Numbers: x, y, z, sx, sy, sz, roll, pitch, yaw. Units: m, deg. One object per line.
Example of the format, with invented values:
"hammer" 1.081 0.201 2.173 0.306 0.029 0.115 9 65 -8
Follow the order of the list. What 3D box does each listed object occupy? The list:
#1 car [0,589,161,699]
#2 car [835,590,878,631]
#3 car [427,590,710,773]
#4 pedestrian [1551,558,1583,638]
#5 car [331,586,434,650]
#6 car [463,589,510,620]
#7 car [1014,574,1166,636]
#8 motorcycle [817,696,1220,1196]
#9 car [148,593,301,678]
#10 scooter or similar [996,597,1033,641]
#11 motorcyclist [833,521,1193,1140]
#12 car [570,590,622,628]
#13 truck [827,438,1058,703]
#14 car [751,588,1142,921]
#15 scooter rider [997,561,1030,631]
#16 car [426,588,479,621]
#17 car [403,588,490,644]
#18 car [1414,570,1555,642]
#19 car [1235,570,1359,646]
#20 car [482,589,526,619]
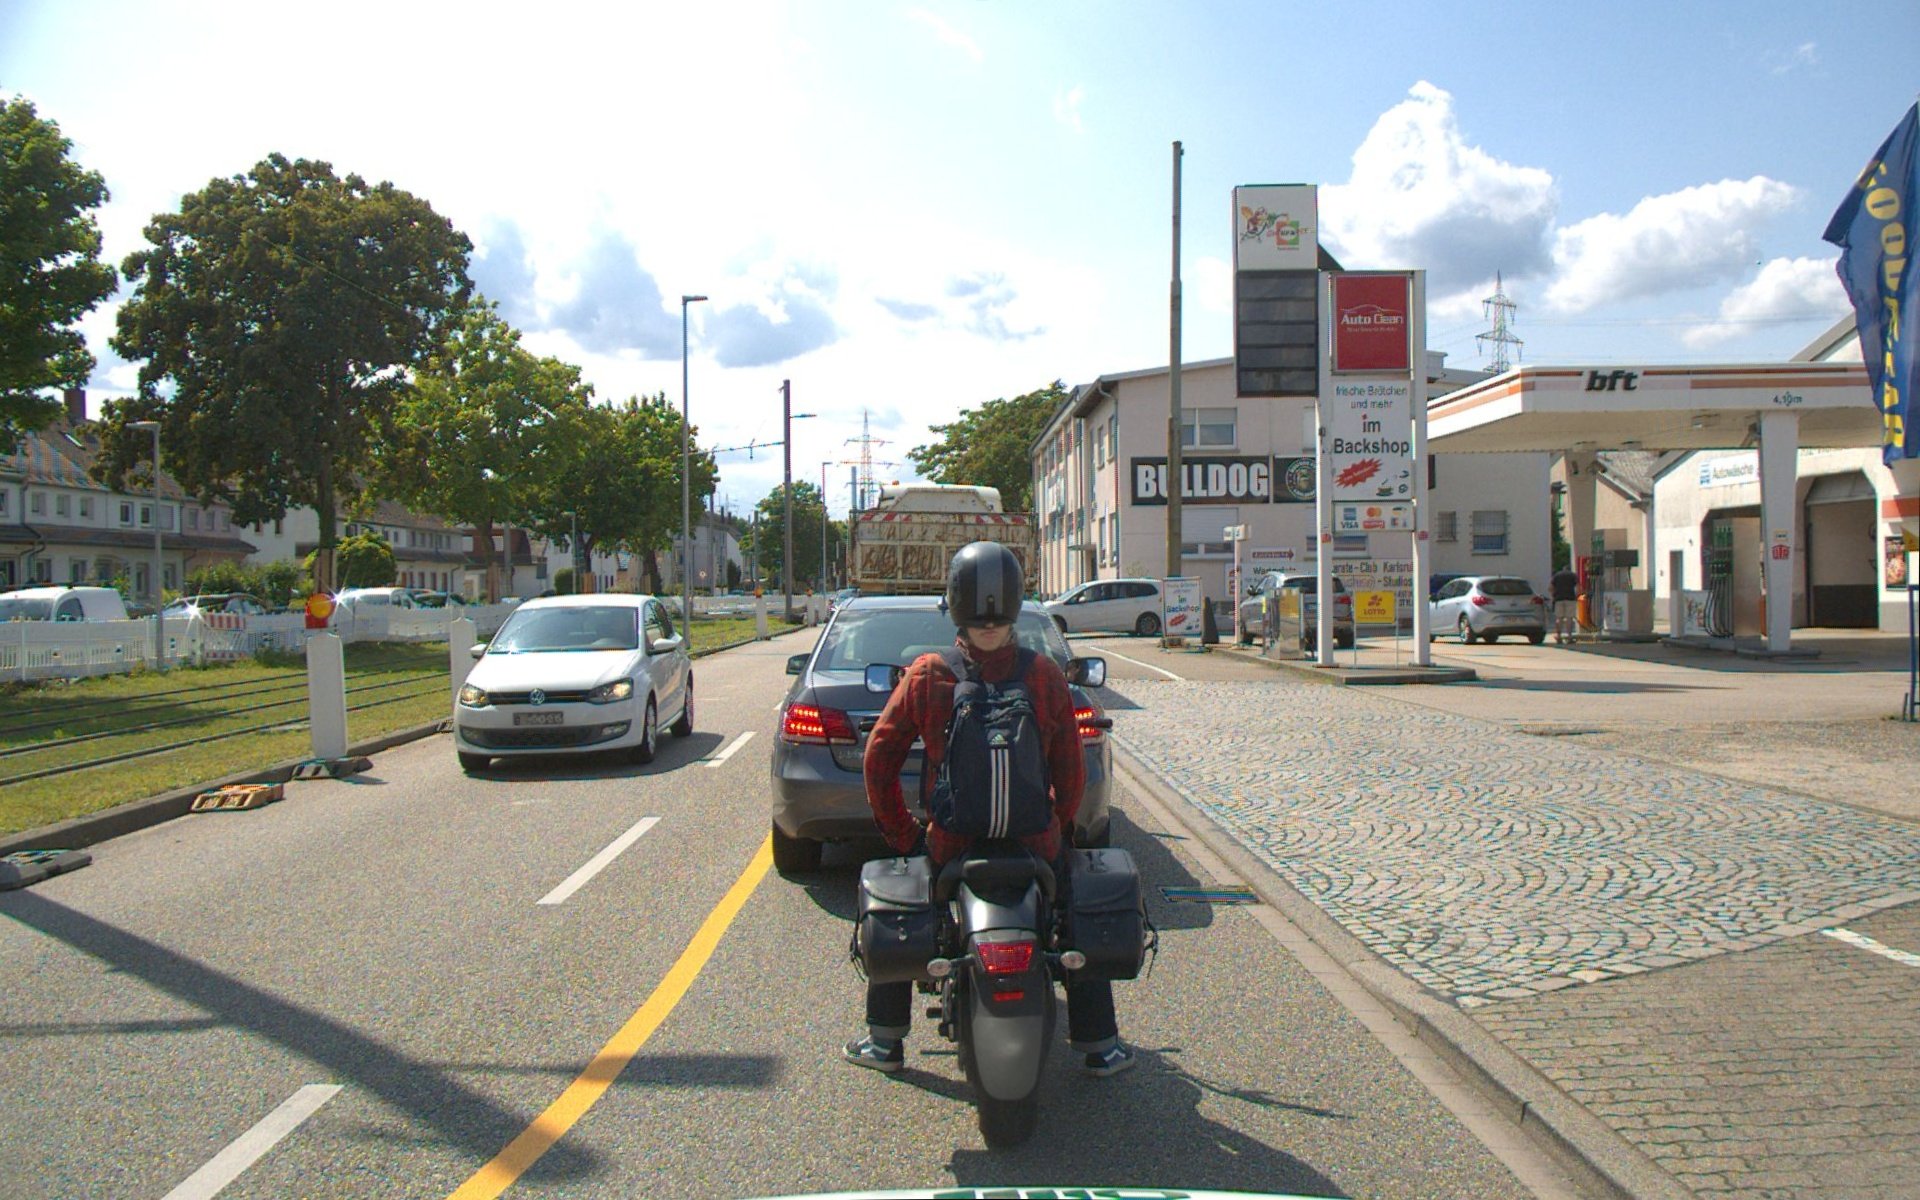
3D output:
"car" -16.413 0.746 30.285 1.664 1.849 3.860 -1 0 -1
"car" -4.429 0.437 71.401 1.646 1.652 4.118 -1 0 -1
"car" -3.493 0.645 15.550 1.680 1.438 4.261 -1 0 -1
"pedestrian" 13.139 -0.044 35.785 0.621 1.712 0.622 -1 0 20
"car" -16.909 0.496 48.607 1.664 1.770 3.860 -1 0 -1
"car" -28.061 0.264 98.136 1.664 1.770 4.061 -1 0 -1
"car" 3.674 0.122 47.077 4.029 1.652 1.682 -1 0 -9
"motorcycle" 0.124 0.902 5.186 0.956 1.031 2.431 1 0 -1
"car" -16.668 0.760 37.709 1.664 1.770 4.053 -1 0 -1
"scooter or similar" 1.462 0.504 44.679 0.780 1.165 1.517 -1 0 -7
"motorcyclist" 0.135 0.619 5.068 0.950 1.662 1.214 1 0 -1
"car" -17.490 0.410 79.615 1.664 1.770 3.860 -1 0 -1
"truck" -0.351 -0.419 25.461 2.910 3.362 8.404 -1 0 -2
"car" -0.120 0.702 9.722 1.795 1.505 4.008 -1 0 -2
"scooter rider" 1.449 -0.115 44.669 0.780 1.850 0.507 -1 0 -8
"car" -28.180 0.249 91.926 1.664 1.770 4.061 -1 0 -1
"car" -17.016 0.500 54.972 1.664 1.770 3.860 -1 0 -1
"car" 11.777 0.106 37.413 1.795 1.505 4.008 -1 0 -2
"car" 7.406 0.146 36.747 1.795 1.562 4.008 -1 0 -2
"car" -28.664 0.235 104.138 1.664 1.770 4.061 -1 0 -1
